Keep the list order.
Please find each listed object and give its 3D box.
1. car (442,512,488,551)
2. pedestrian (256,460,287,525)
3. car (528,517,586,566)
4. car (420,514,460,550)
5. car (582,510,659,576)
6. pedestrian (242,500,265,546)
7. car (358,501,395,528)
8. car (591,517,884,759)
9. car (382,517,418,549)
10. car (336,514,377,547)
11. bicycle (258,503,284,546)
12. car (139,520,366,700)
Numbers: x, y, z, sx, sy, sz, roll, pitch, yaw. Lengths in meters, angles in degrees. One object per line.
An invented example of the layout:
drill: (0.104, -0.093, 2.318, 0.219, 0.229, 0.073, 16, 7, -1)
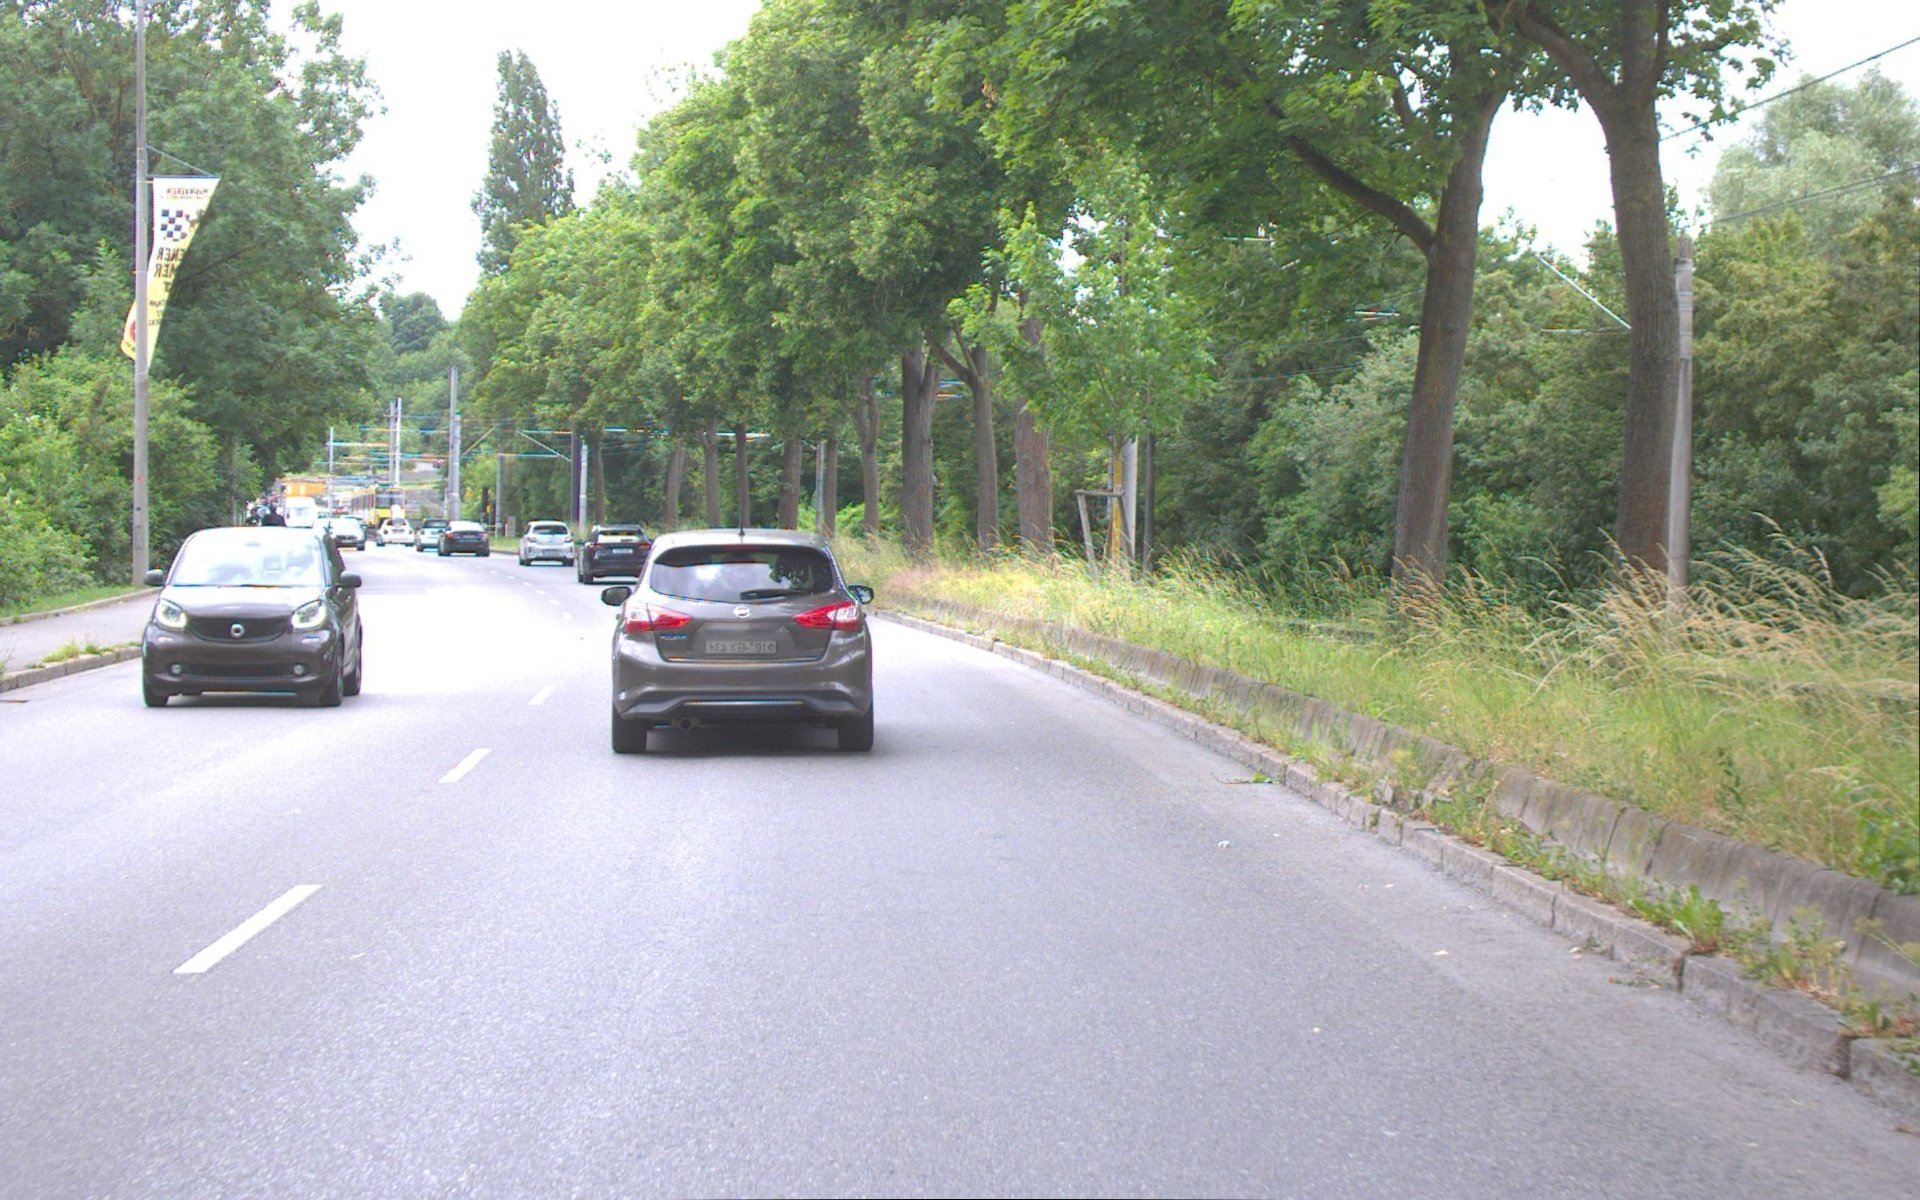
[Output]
car: (-20.774, -2.887, 144.223, 1.775, 1.467, 4.002, 3, 2, -9)
pedestrian: (-17.030, -2.660, 85.041, 0.617, 1.566, 0.849, 3, 2, -7)
car: (-13.437, -1.963, 114.816, 1.775, 1.467, 4.001, 3, 2, -6)
car: (-23.885, -3.131, 157.814, 1.775, 1.467, 4.002, 2, 2, -9)
car: (-8.370, -1.423, 85.070, 1.775, 1.467, 4.001, 3, 2, -5)
pedestrian: (-25.419, -2.770, 123.732, 0.695, 1.616, 0.684, 3, 2, -8)
car: (-35.062, -5.148, 206.478, 1.775, 1.467, 4.002, 3, 2, -15)
car: (-1.664, 0.199, 24.412, 1.815, 1.503, 4.001, 0, 2, -7)
car: (-29.156, -3.511, 178.992, 1.775, 1.467, 4.002, 3, 2, -9)
car: (-28.175, -3.263, 160.541, 1.748, 1.459, 3.921, 2, 1, -9)
bicycle: (-17.063, -1.879, 85.112, 0.488, 1.027, 1.124, 3, 2, -7)
car: (-6.178, 0.051, 30.268, 1.595, 1.500, 3.029, 0, 1, -5)
